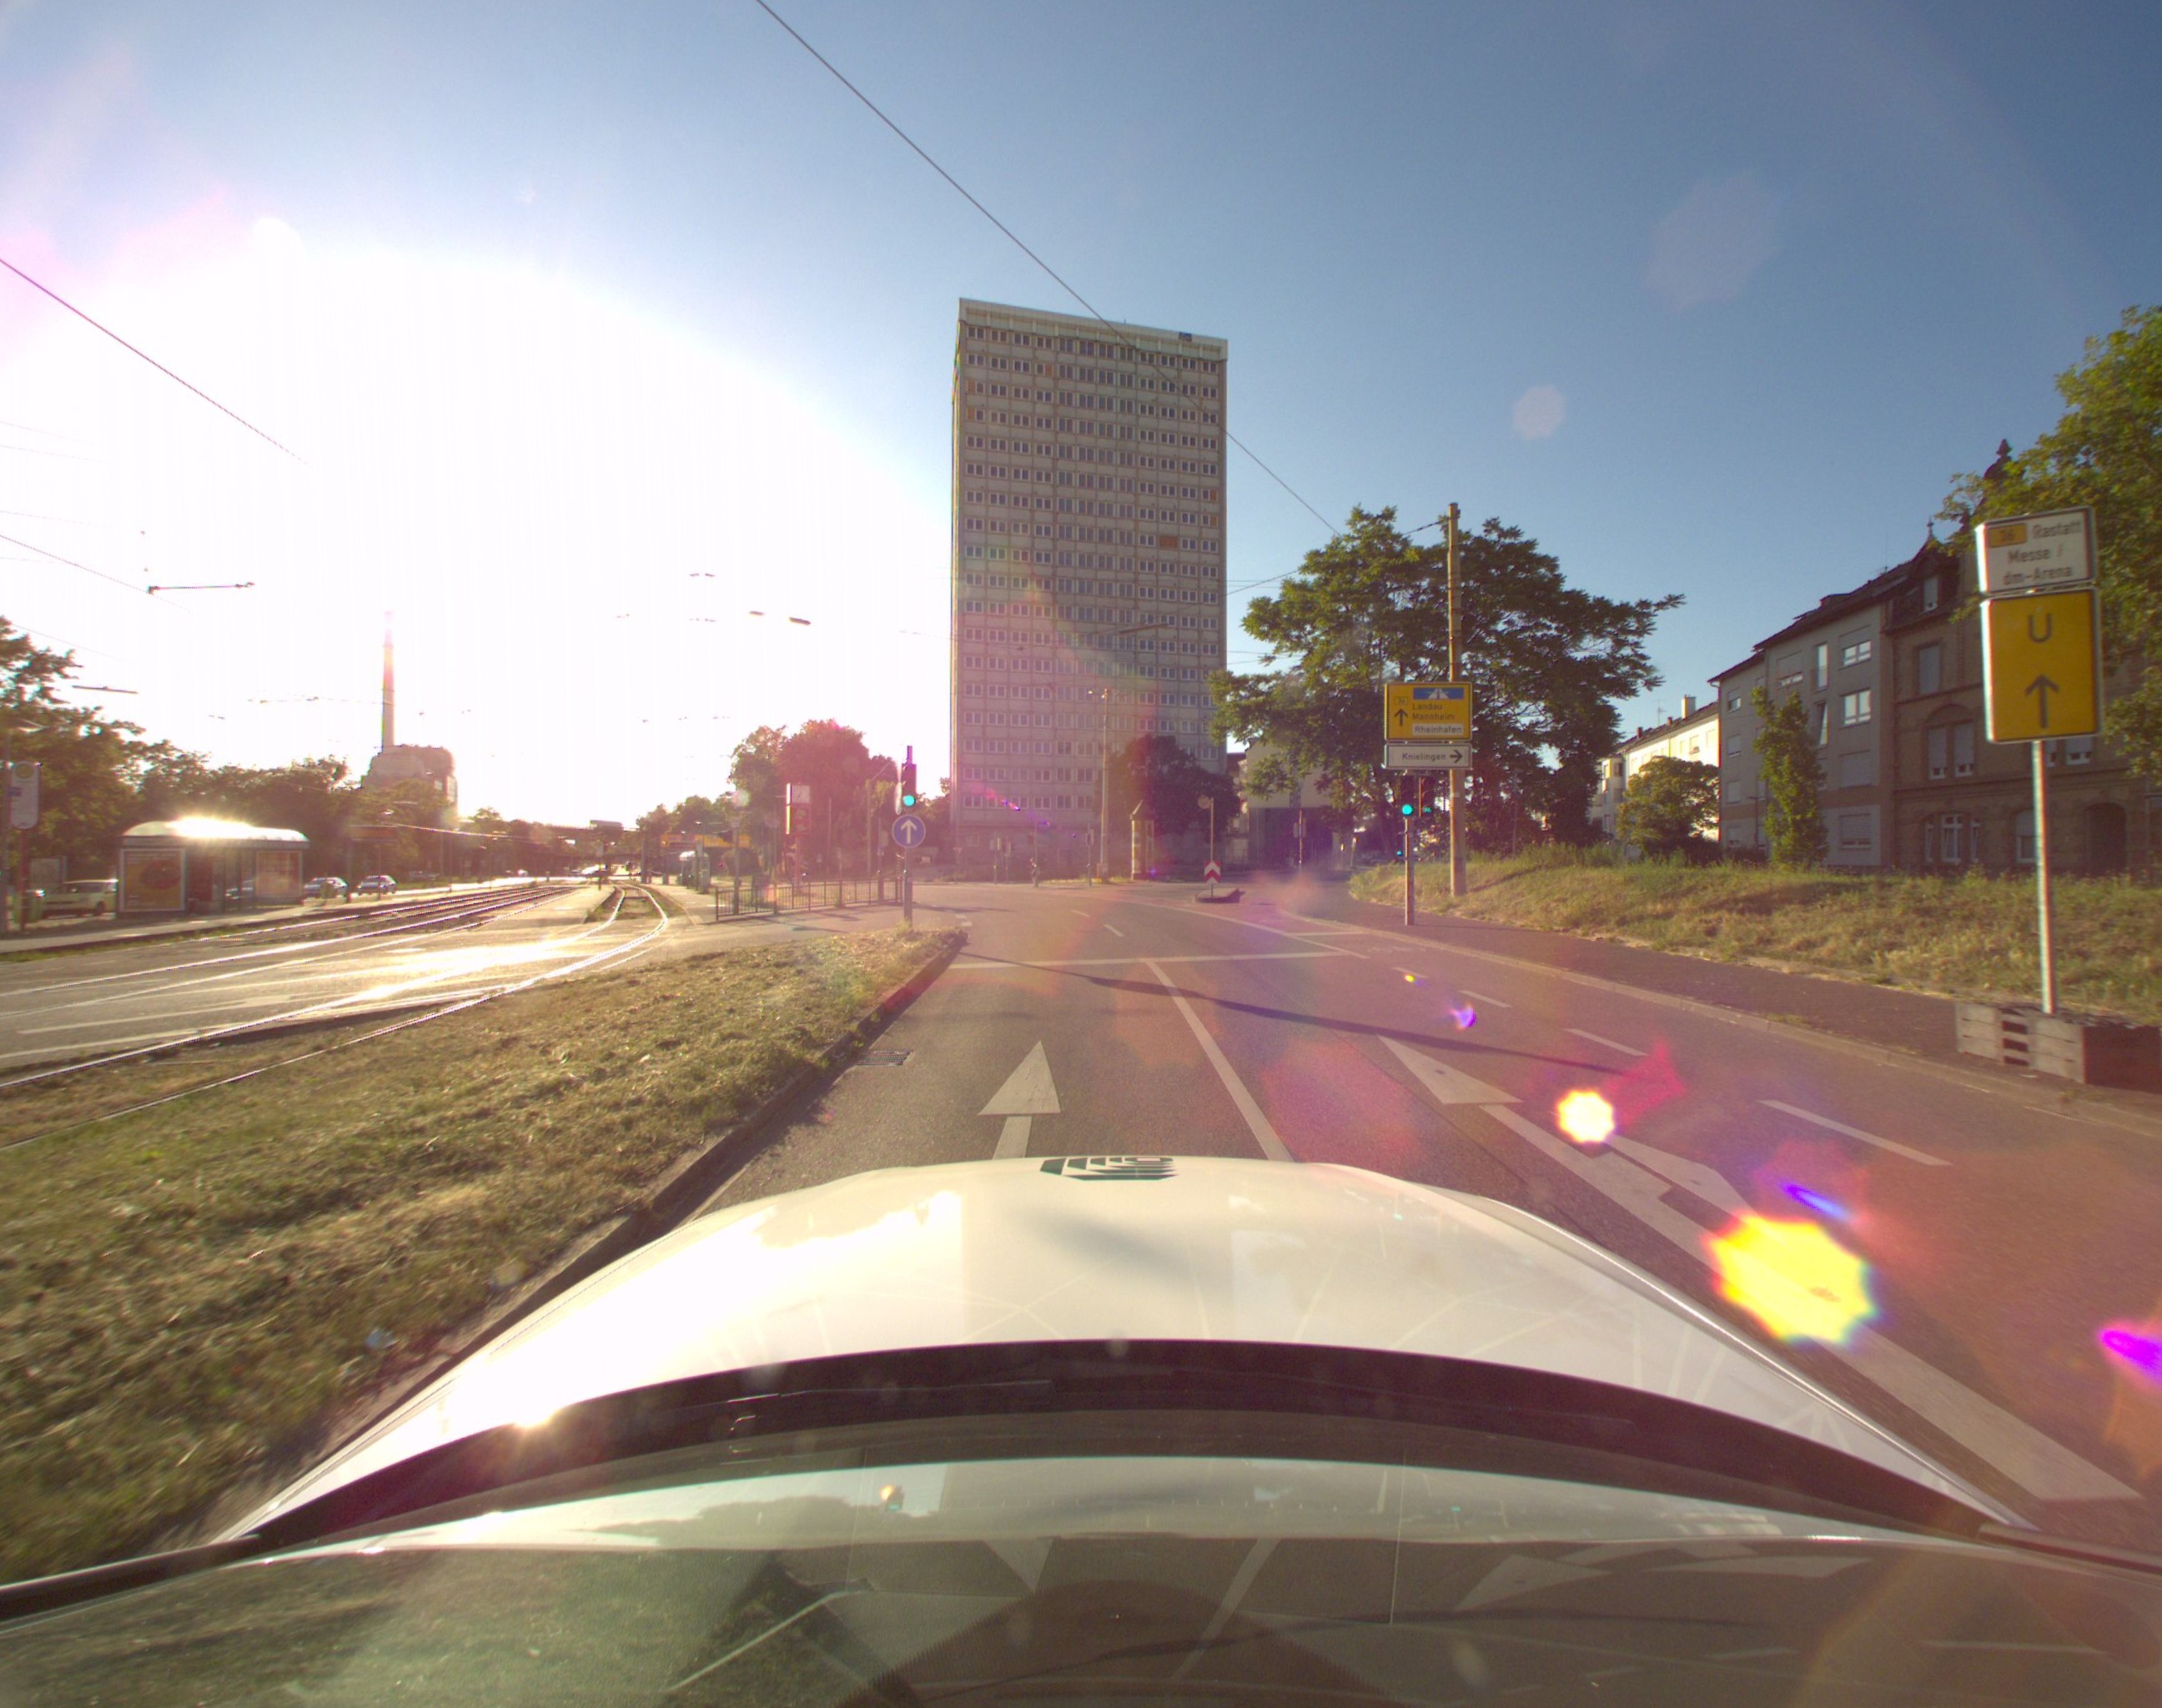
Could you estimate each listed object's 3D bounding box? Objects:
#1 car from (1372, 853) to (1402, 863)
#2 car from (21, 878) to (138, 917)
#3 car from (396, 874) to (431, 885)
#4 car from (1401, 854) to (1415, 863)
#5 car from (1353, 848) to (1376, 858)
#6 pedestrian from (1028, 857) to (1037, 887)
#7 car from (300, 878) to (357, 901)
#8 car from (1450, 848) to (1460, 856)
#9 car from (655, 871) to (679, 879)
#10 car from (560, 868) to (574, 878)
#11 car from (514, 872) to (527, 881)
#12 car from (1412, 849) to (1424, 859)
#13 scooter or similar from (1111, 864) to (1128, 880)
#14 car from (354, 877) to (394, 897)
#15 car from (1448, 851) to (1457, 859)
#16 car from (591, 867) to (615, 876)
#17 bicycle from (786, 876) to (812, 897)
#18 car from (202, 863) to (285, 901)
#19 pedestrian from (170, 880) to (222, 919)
[{"bbox_3d":[39.888,0.549,106.238,3.670,1.301,1.519,-1,-1,19],"label":"car"},{"bbox_3d":[-39.516,1.679,32.255,1.553,1.340,3.562,0,-1,-26],"label":"car"},{"bbox_3d":[-109.038,4.143,133.087,1.974,1.750,4.025,-2,-1,34],"label":"car"},{"bbox_3d":[53.262,0.695,132.612,1.857,1.458,3.808,-1,0,23],"label":"car"},{"bbox_3d":[54.905,-0.125,157.832,3.951,1.904,1.875,-1,-1,24],"label":"car"},{"bbox_3d":[-2.678,0.995,44.794,0.435,1.612,0.630,-1,-1,-1],"label":"pedestrian"},{"bbox_3d":[-53.605,2.496,58.078,1.810,1.367,3.934,0,1,-24],"label":"car"},{"bbox_3d":[73.538,-0.379,160.173,1.842,1.543,3.901,-1,-1,24],"label":"car"},{"bbox_3d":[-101.241,5.115,199.168,4.850,2.013,1.992,0,0,-12],"label":"car"},{"bbox_3d":[-117.635,4.330,186.449,2.003,2.014,4.823,-1,-1,-24],"label":"car"},{"bbox_3d":[-126.769,5.042,184.097,2.005,2.014,3.962,0,-1,-29],"label":"car"},{"bbox_3d":[63.005,0.037,152.217,1.841,1.904,4.024,-1,-1,27],"label":"car"},{"bbox_3d":[2.948,1.371,62.513,1.297,1.170,0.325,-1,0,-10],"label":"scooter or similar"},{"bbox_3d":[-59.379,2.748,68.438,1.666,1.532,4.350,0,-1,-29],"label":"car"},{"bbox_3d":[79.144,0.249,173.537,1.842,1.543,4.023,-1,-1,24],"label":"car"},{"bbox_3d":[-117.429,4.293,200.104,4.785,2.013,1.993,0,0,-11],"label":"car"},{"bbox_3d":[-13.401,1.516,38.733,0.551,0.918,1.744,-2,0,2],"label":"bicycle"},{"bbox_3d":[-47.561,1.568,46.376,2.004,2.014,4.125,-1,-1,-26],"label":"car"},{"bbox_3d":[-28.616,1.458,26.353,0.848,1.188,0.915,-1,-1,-27],"label":"pedestrian"}]
